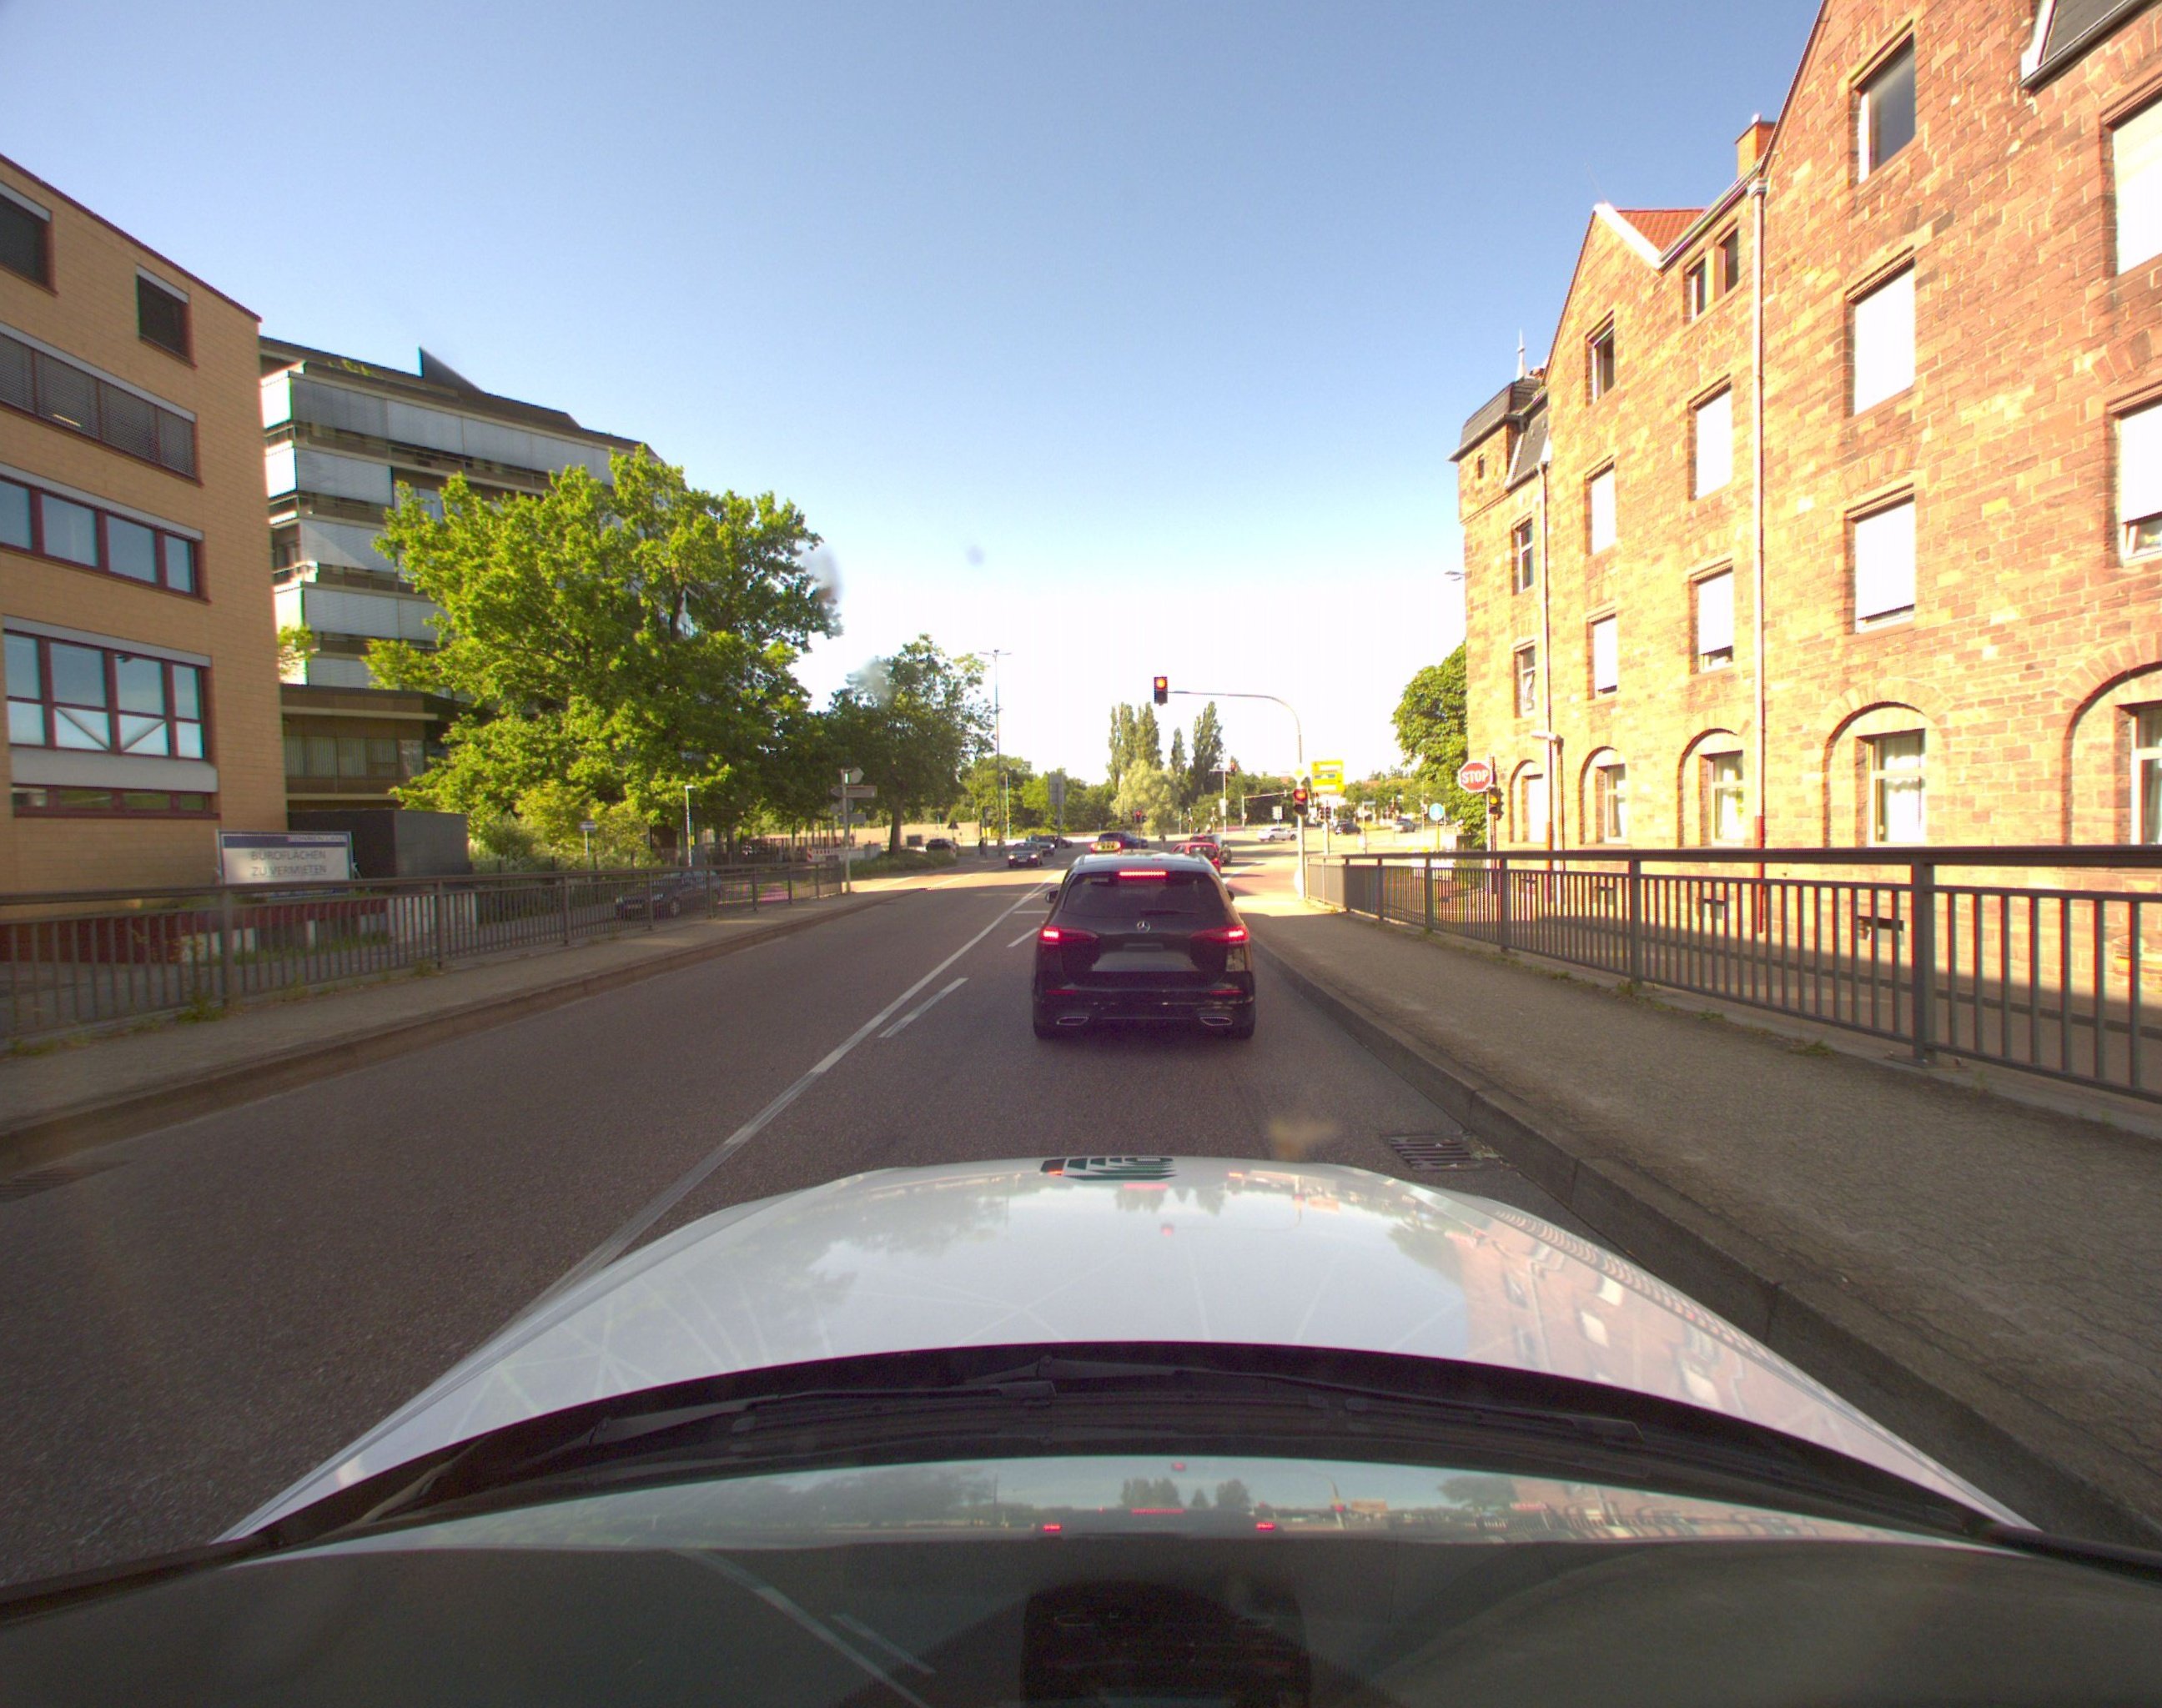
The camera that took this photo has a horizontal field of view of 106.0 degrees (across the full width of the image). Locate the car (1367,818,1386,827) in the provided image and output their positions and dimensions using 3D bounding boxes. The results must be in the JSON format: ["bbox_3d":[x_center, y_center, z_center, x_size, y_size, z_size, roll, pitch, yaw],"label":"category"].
[{"bbox_3d":[51.762,-5.507,142.570,1.860,1.578,4.026,-1,2,38],"label":"car"}]

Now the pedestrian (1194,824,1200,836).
[{"bbox_3d":[15.510,-3.237,108.735,0.446,1.585,0.504,-2,1,42],"label":"pedestrian"}]

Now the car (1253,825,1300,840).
[{"bbox_3d":[20.170,-2.227,83.969,4.315,1.365,1.987,-4,2,-20],"label":"car"}]

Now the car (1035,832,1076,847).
[{"bbox_3d":[-2.711,-1.527,86.250,3.957,1.547,1.899,-1,-1,15],"label":"car"}]

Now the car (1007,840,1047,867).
[{"bbox_3d":[-3.115,-0.059,47.540,1.734,1.407,4.206,-2,2,4],"label":"car"}]

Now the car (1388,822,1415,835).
[{"bbox_3d":[39.297,-3.160,99.821,1.974,1.294,4.625,-1,3,37],"label":"car"}]

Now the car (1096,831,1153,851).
[{"bbox_3d":[3.624,-1.082,68.073,4.346,1.592,1.935,0,3,35],"label":"car"}]

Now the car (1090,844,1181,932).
[{"bbox_3d":[1.135,0.607,16.826,1.632,1.529,3.478,-2,1,4],"label":"car"}]

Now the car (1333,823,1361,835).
[{"bbox_3d":[32.268,-3.026,98.795,1.862,1.294,4.625,-1,3,37],"label":"car"}]

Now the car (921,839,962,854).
[{"bbox_3d":[-14.926,-0.822,87.140,3.951,1.498,1.754,-2,0,24],"label":"car"}]

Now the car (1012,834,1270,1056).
[{"bbox_3d":[0.500,0.649,7.947,1.871,1.613,4.002,0,1,2],"label":"car"}]

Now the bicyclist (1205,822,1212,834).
[{"bbox_3d":[16.592,-3.350,106.085,0.811,1.551,0.521,-4,1,-43],"label":"bicyclist"}]

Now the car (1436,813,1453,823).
[{"bbox_3d":[58.983,-5.851,132.244,1.764,1.357,4.105,-1,3,35],"label":"car"}]

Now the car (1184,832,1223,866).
[{"bbox_3d":[6.709,-0.317,44.937,1.715,1.812,4.300,0,1,2],"label":"car"}]

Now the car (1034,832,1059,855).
[{"bbox_3d":[-2.689,-0.803,62.739,1.800,1.623,3.995,0,3,-4],"label":"car"}]

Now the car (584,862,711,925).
[{"bbox_3d":[-13.953,1.205,26.499,1.844,1.692,4.002,-2,2,2],"label":"car"}]

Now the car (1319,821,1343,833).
[{"bbox_3d":[35.073,-3.763,114.103,1.860,1.578,4.026,-1,2,38],"label":"car"}]

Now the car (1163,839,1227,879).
[{"bbox_3d":[4.942,0.162,35.764,1.722,1.521,3.473,-2,3,-11],"label":"car"}]

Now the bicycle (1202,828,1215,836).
[{"bbox_3d":[16.605,-2.872,106.105,2.001,1.050,0.521,-4,1,-43],"label":"bicycle"}]

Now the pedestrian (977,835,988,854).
[{"bbox_3d":[-8.301,-0.788,68.389,0.700,1.525,0.746,-1,1,12],"label":"pedestrian"}]
